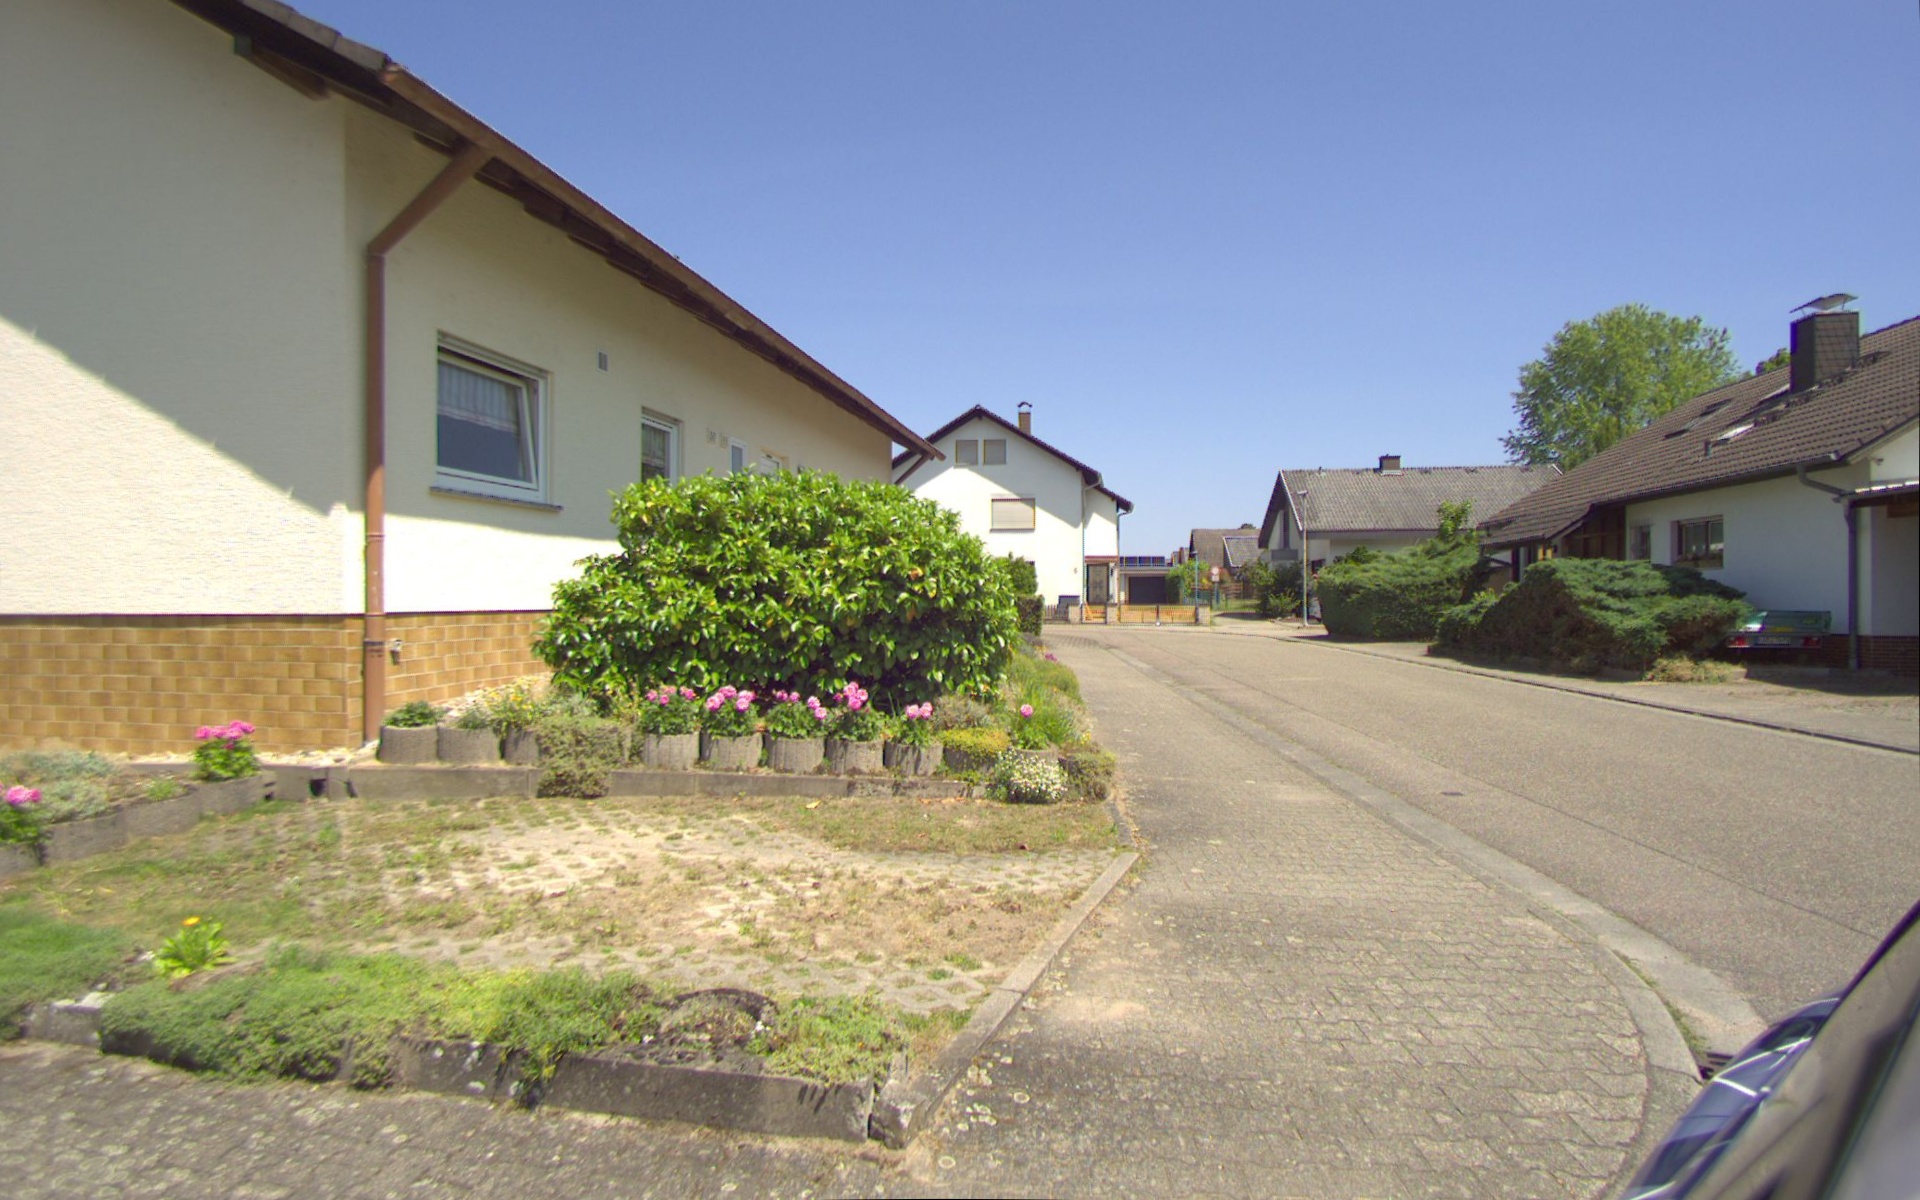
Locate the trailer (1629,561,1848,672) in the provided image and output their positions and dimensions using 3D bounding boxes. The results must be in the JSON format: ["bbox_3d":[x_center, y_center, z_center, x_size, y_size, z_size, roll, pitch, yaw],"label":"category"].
[{"bbox_3d":[13.152,0.228,17.346,1.566,1.693,3.287,-2,1,10],"label":"trailer"}]
